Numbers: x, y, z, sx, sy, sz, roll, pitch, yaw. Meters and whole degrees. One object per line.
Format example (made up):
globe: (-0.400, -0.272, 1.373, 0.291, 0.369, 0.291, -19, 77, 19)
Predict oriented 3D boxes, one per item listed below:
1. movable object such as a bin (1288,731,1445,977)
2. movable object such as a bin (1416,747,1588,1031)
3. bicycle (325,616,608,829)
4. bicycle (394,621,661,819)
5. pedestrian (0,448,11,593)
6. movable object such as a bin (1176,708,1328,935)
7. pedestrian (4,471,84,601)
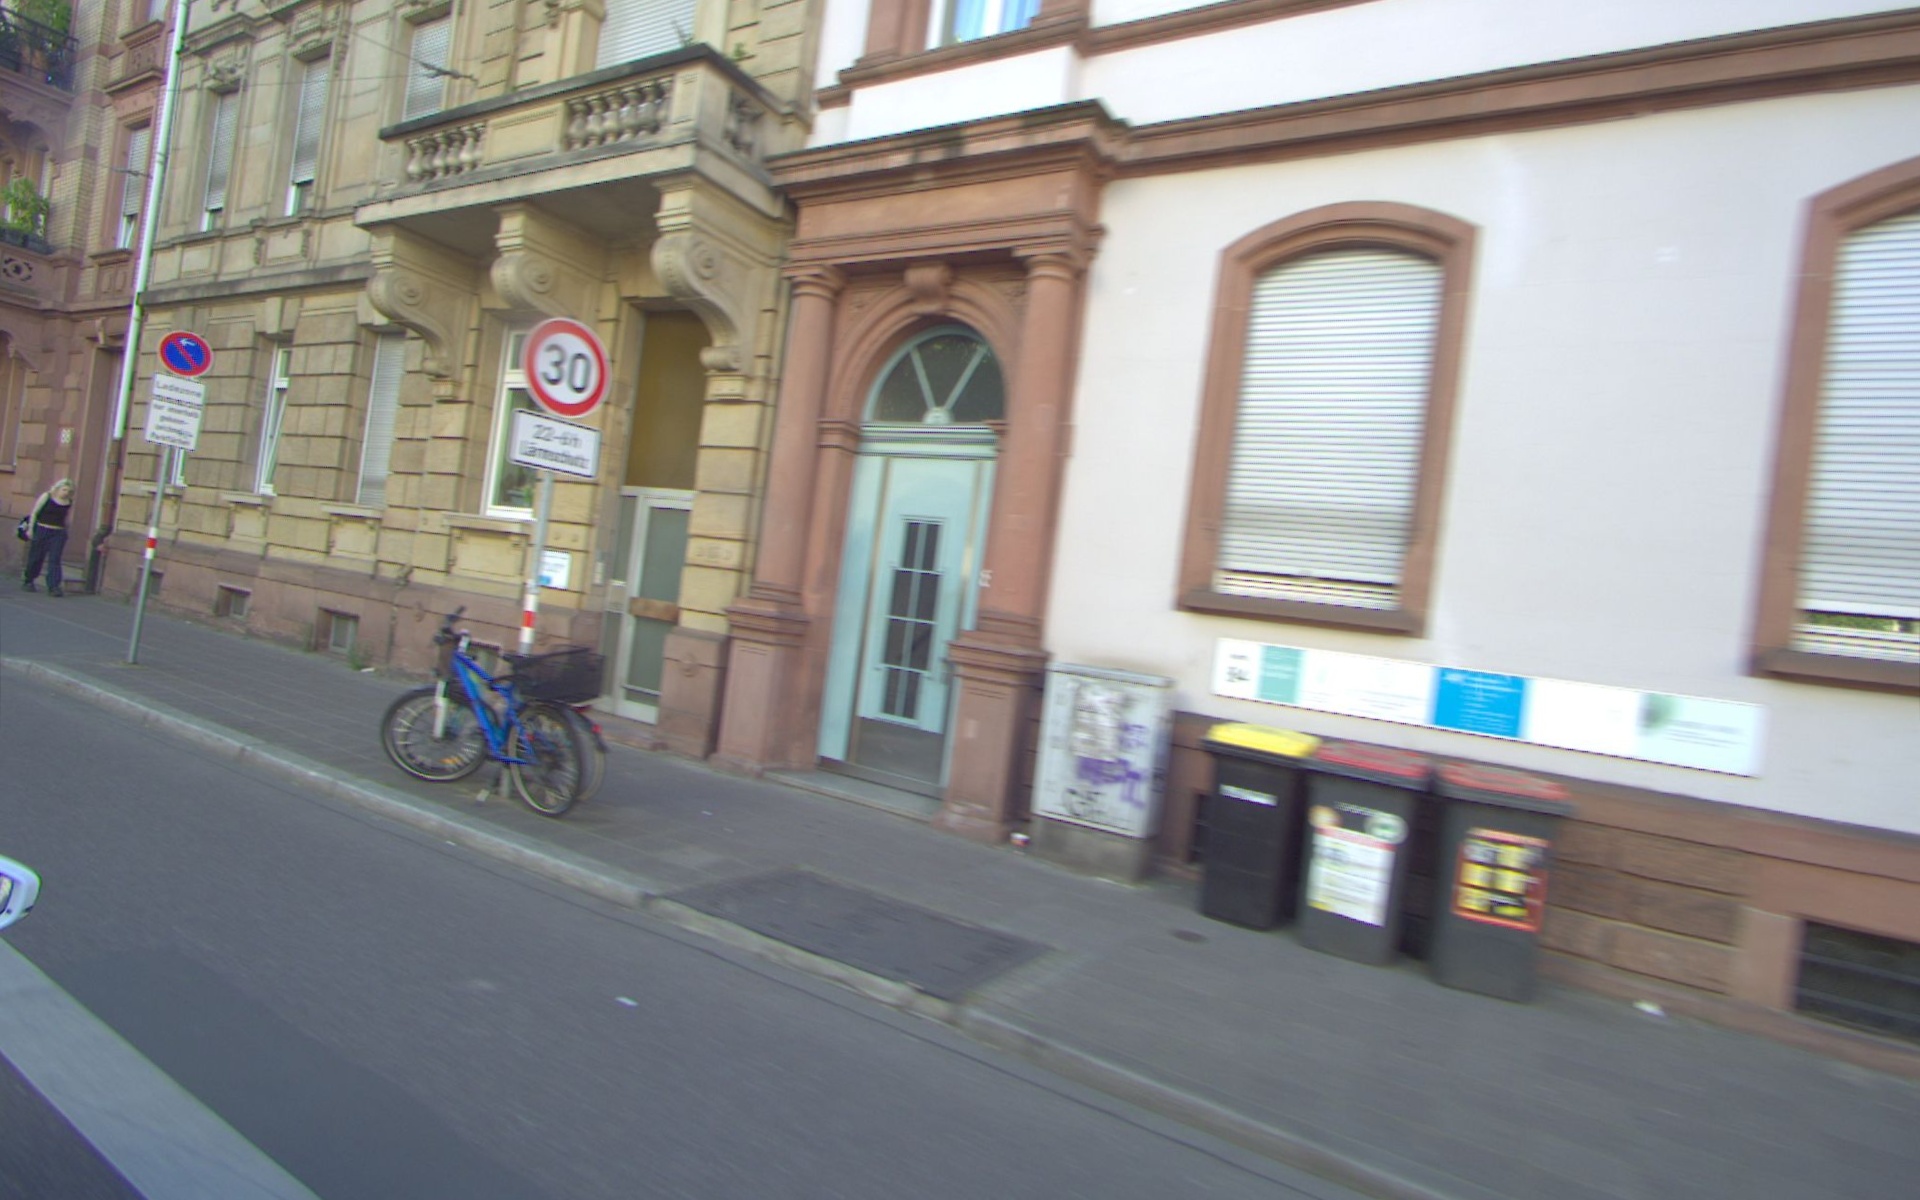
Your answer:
movable object such as a bin: (2.165, 1.293, 5.332, 0.561, 1.090, 0.667, 7, 0, 30)
movable object such as a bin: (2.678, 1.367, 4.978, 0.584, 1.167, 0.667, 7, -1, 30)
bicycle: (-2.981, 0.690, 6.031, 1.732, 0.958, 0.432, 7, 0, 25)
bicycle: (-2.802, 0.729, 6.468, 1.732, 0.958, 0.432, 7, 0, 25)
pedestrian: (-14.050, -1.172, 14.244, 0.809, 2.040, 0.586, 7, 2, 30)
movable object such as a bin: (1.652, 1.198, 5.660, 0.561, 1.090, 0.667, 7, 1, 30)
pedestrian: (-13.442, -0.936, 14.764, 0.596, 1.803, 0.554, 7, 0, 30)
